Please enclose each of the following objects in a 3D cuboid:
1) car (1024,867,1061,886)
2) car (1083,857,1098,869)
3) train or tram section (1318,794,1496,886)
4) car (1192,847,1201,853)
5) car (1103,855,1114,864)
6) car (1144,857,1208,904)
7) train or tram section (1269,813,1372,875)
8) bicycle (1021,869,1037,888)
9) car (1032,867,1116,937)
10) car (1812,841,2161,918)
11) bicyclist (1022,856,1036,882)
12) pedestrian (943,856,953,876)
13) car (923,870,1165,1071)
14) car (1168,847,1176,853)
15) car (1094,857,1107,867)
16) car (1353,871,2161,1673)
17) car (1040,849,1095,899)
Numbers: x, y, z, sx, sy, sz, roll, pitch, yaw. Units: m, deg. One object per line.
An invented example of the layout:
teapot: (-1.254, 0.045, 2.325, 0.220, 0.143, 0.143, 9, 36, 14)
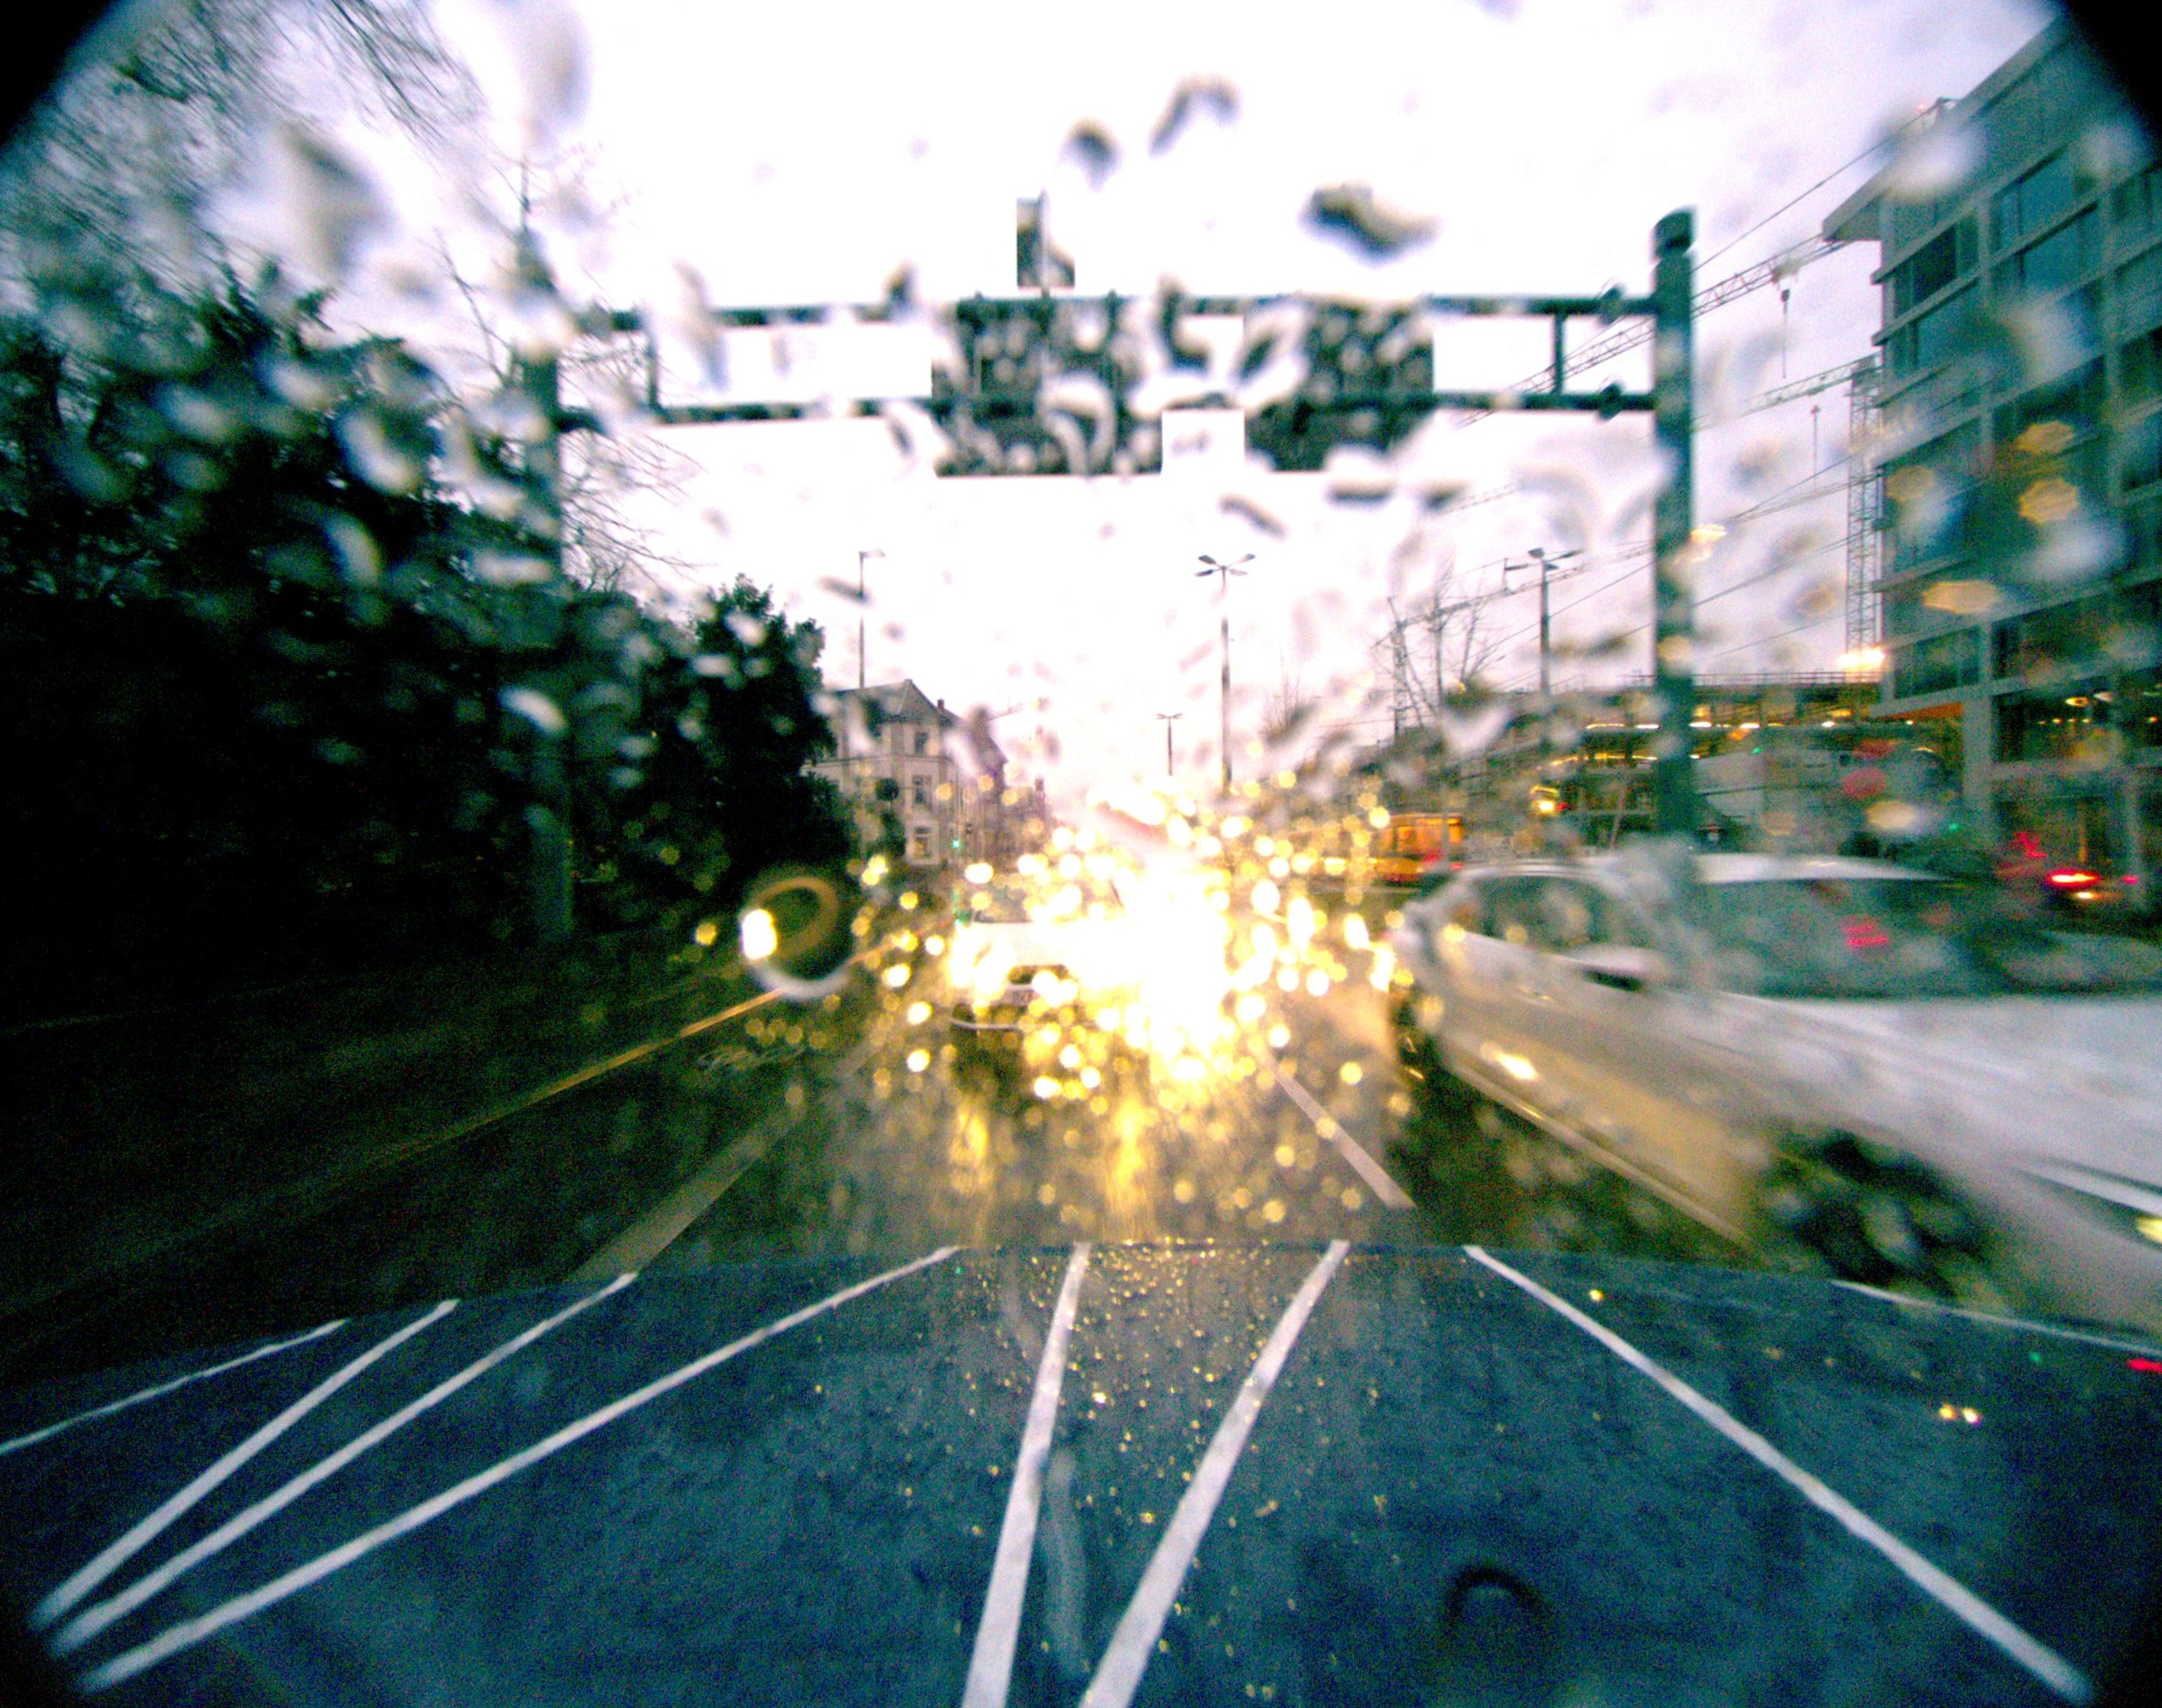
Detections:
car: (-3.031, 1.746, 60.438, 1.873, 1.403, 4.004, -1, 0, 14)
car: (1.243, 1.159, 100.691, 1.767, 1.363, 3.981, -2, 0, 3)
train or tram section: (14.561, -0.534, 35.902, 2.964, 3.466, 14.268, -1, 0, 3)
car: (33.318, -1.126, 219.040, 1.998, 1.812, 4.000, -1, 0, 0)
car: (4.762, 0.902, 131.298, 1.767, 1.363, 3.981, -2, 0, 2)
car: (3.175, 0.844, 26.008, 1.767, 1.363, 3.981, -2, 0, 2)
train or tram section: (15.334, -0.550, 50.178, 2.964, 3.466, 14.321, -1, 0, 3)
bicycle: (-2.829, 1.322, 41.681, 0.647, 0.961, 2.047, -1, 0, 2)
car: (-0.158, 1.046, 18.052, 1.728, 1.318, 3.981, -2, 0, 0)
car: (19.896, 0.492, 17.166, 1.998, 1.459, 5.034, -1, 0, 1)
bicyclist: (-2.823, 0.804, 41.655, 0.647, 1.381, 0.890, -1, 0, 2)
pedestrian: (-9.901, 0.918, 56.677, 0.520, 1.501, 0.588, 0, 1, 17)
car: (-0.281, 0.929, 7.784, 1.798, 1.363, 3.981, -2, 0, 0)
car: (29.472, -1.325, 246.247, 1.998, 2.002, 4.000, -1, 0, 1)
car: (2.838, 1.116, 112.082, 1.767, 1.363, 3.981, -2, 0, 1)
car: (2.983, 0.873, 3.234, 1.851, 1.397, 4.613, -2, 0, -2)
car: (-0.463, 0.668, 27.866, 1.781, 1.666, 3.981, -2, 0, 0)
